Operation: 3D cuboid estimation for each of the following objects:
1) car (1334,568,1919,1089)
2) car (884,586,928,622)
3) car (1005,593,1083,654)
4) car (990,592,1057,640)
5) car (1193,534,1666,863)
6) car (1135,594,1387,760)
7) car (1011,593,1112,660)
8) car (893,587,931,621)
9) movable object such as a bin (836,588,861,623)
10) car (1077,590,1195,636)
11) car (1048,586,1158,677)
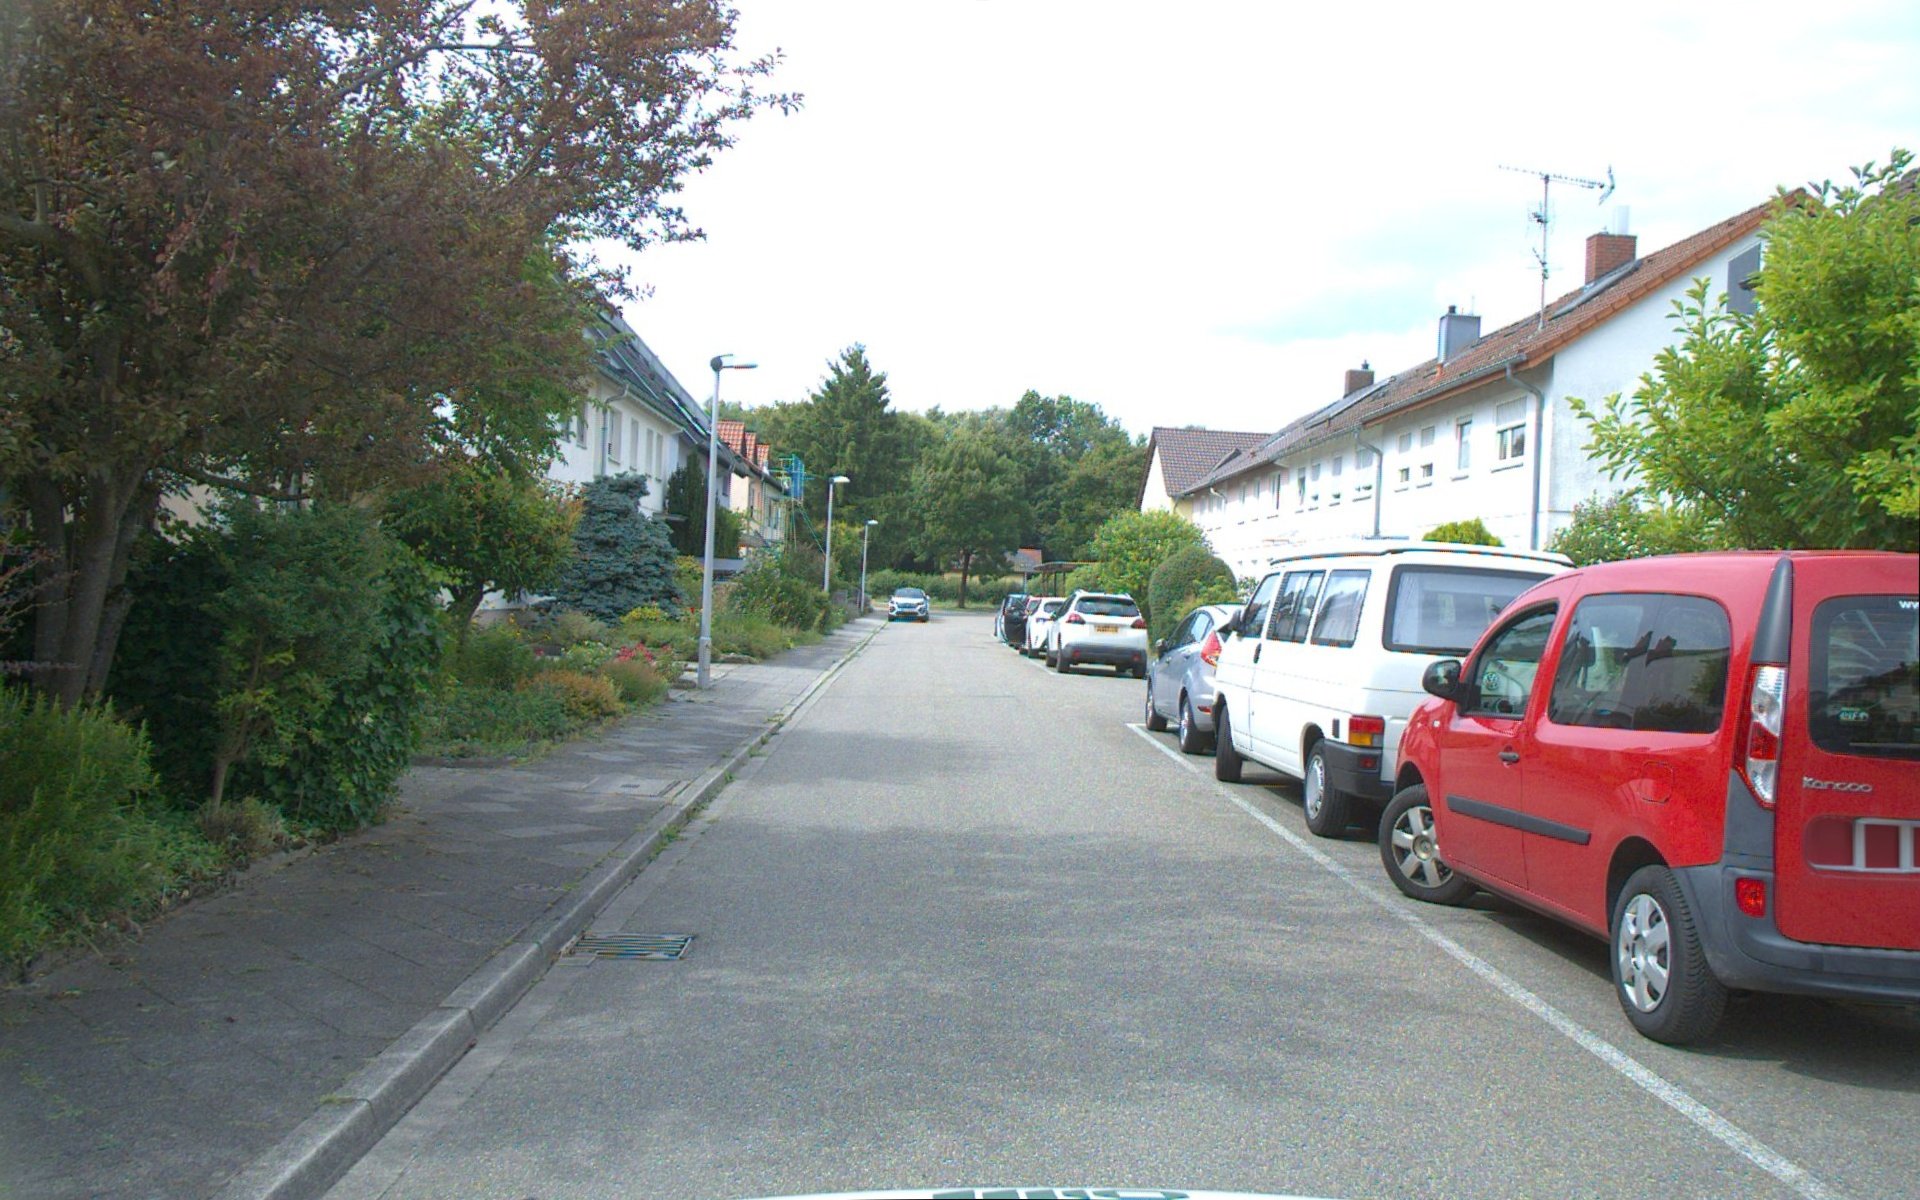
[{"bbox_3d":[3.285,0.740,7.609,1.775,1.679,4.406,2,0,-5],"label":"car"},{"bbox_3d":[-2.471,0.172,76.926,1.894,1.583,4.634,2,0,-1],"label":"car"},{"bbox_3d":[2.266,0.607,45.806,1.738,1.460,4.825,4,0,-1],"label":"car"},{"bbox_3d":[2.121,0.518,56.135,1.828,1.441,4.250,3,0,-3],"label":"car"},{"bbox_3d":[3.247,0.592,12.608,1.980,1.981,4.744,2,0,-3],"label":"car"},{"bbox_3d":[3.065,0.723,17.708,1.862,1.485,4.129,2,0,-1],"label":"car"},{"bbox_3d":[2.377,0.595,39.792,1.802,1.437,4.633,2,0,-4],"label":"car"},{"bbox_3d":[-2.390,0.180,82.327,1.773,1.589,4.846,2,0,-1],"label":"car"},{"bbox_3d":[-4.353,0.195,64.595,0.930,1.335,1.000,2,0,-2],"label":"movable object such as a bin"},{"bbox_3d":[6.568,0.460,62.060,4.183,1.587,1.934,1,0,-1],"label":"car"},{"bbox_3d":[2.740,0.561,32.474,1.679,1.570,3.973,4,0,-1],"label":"car"}]
